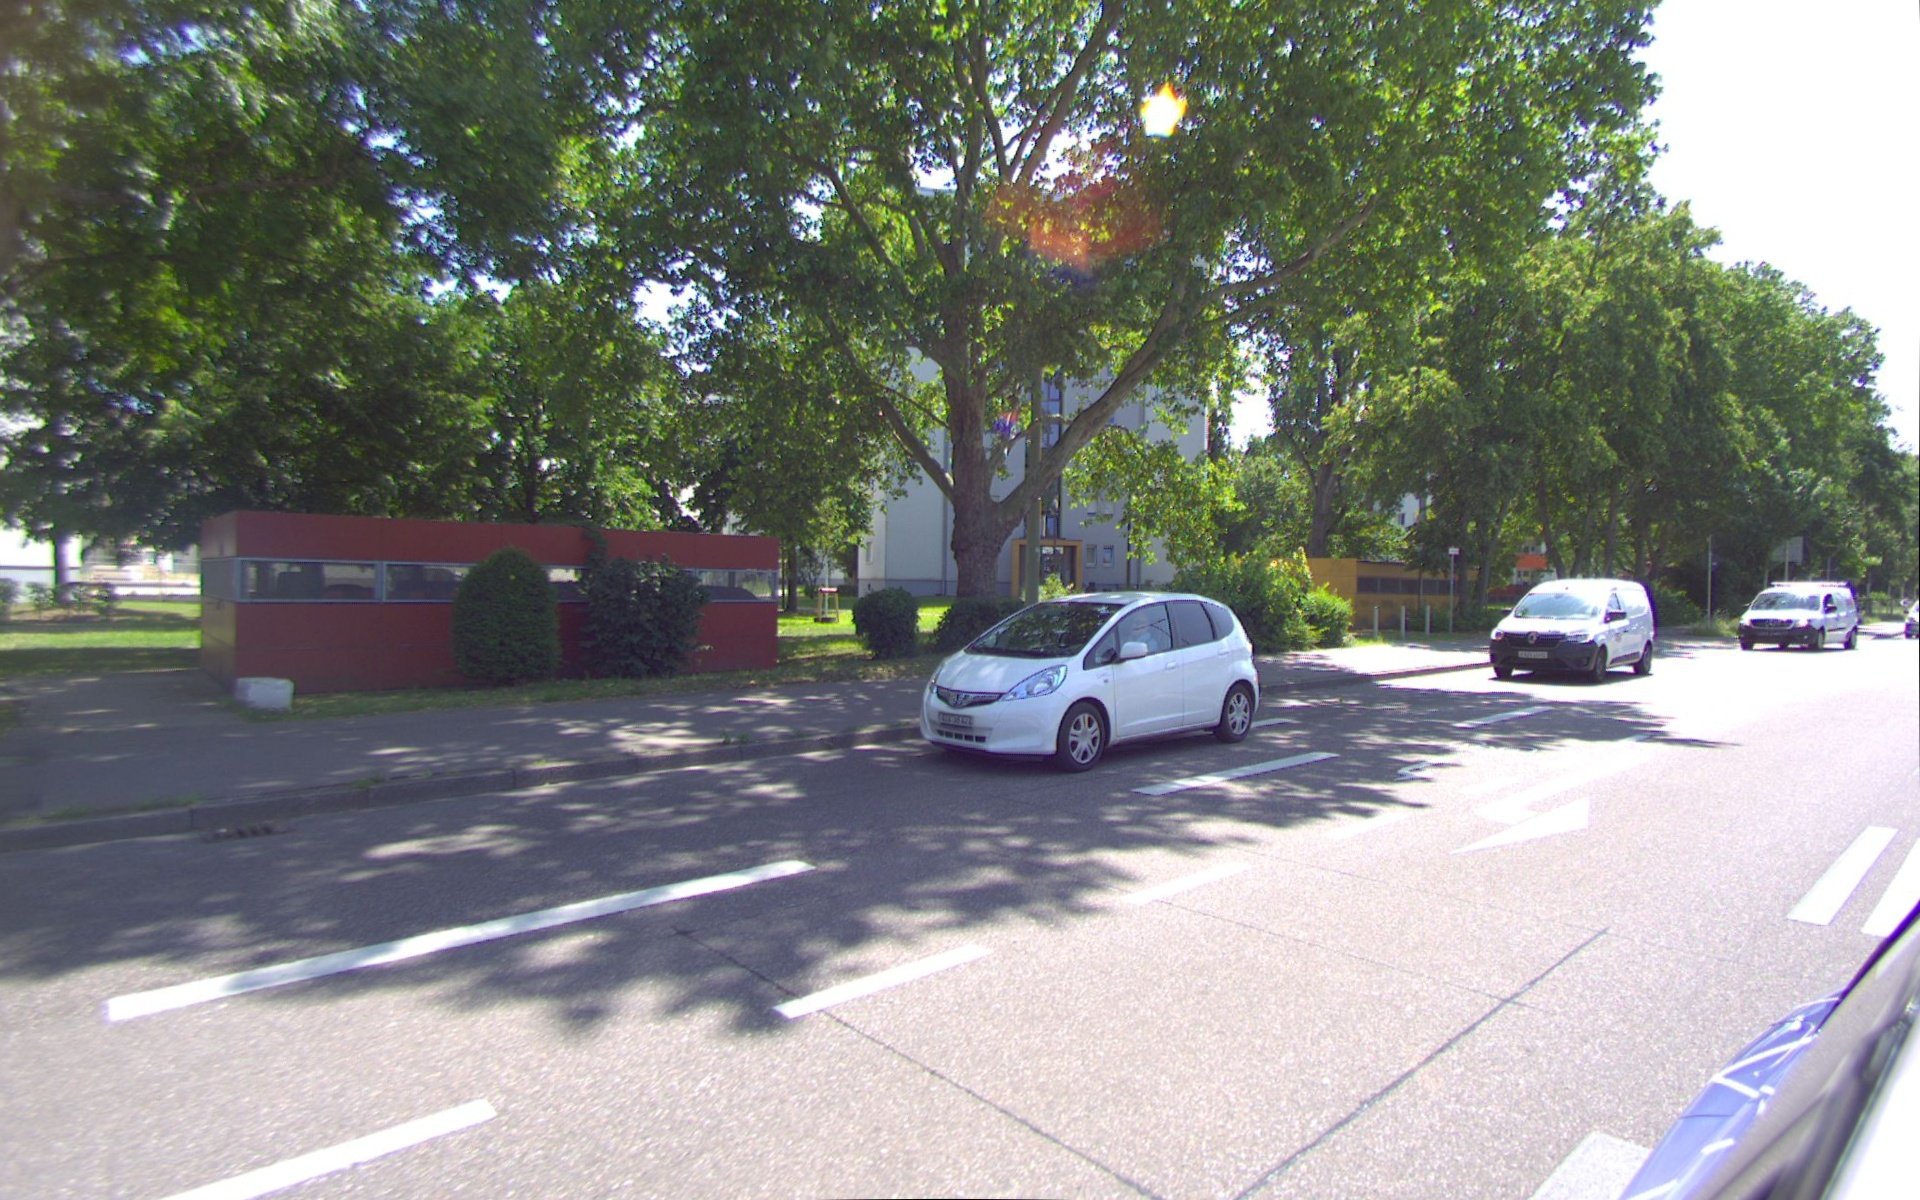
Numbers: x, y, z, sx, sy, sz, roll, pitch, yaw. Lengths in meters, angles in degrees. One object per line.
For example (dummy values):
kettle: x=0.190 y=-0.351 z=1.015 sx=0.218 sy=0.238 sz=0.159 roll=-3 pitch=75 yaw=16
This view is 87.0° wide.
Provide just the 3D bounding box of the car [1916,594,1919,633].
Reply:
car: x=37.419 y=0.488 z=38.160 sx=3.436 sy=1.459 sz=1.625 roll=0 pitch=0 yaw=-40

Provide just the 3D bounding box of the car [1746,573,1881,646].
car: x=23.847 y=0.242 z=28.223 sx=4.988 sy=1.879 sz=1.810 roll=0 pitch=0 yaw=-37

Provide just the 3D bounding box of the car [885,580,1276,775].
car: x=1.291 y=0.596 z=9.785 sx=3.813 sy=1.507 sz=1.722 roll=0 pitch=0 yaw=-43

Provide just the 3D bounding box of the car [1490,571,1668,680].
car: x=11.475 y=0.415 z=18.632 sx=4.353 sy=1.769 sz=1.711 roll=0 pitch=0 yaw=-43
